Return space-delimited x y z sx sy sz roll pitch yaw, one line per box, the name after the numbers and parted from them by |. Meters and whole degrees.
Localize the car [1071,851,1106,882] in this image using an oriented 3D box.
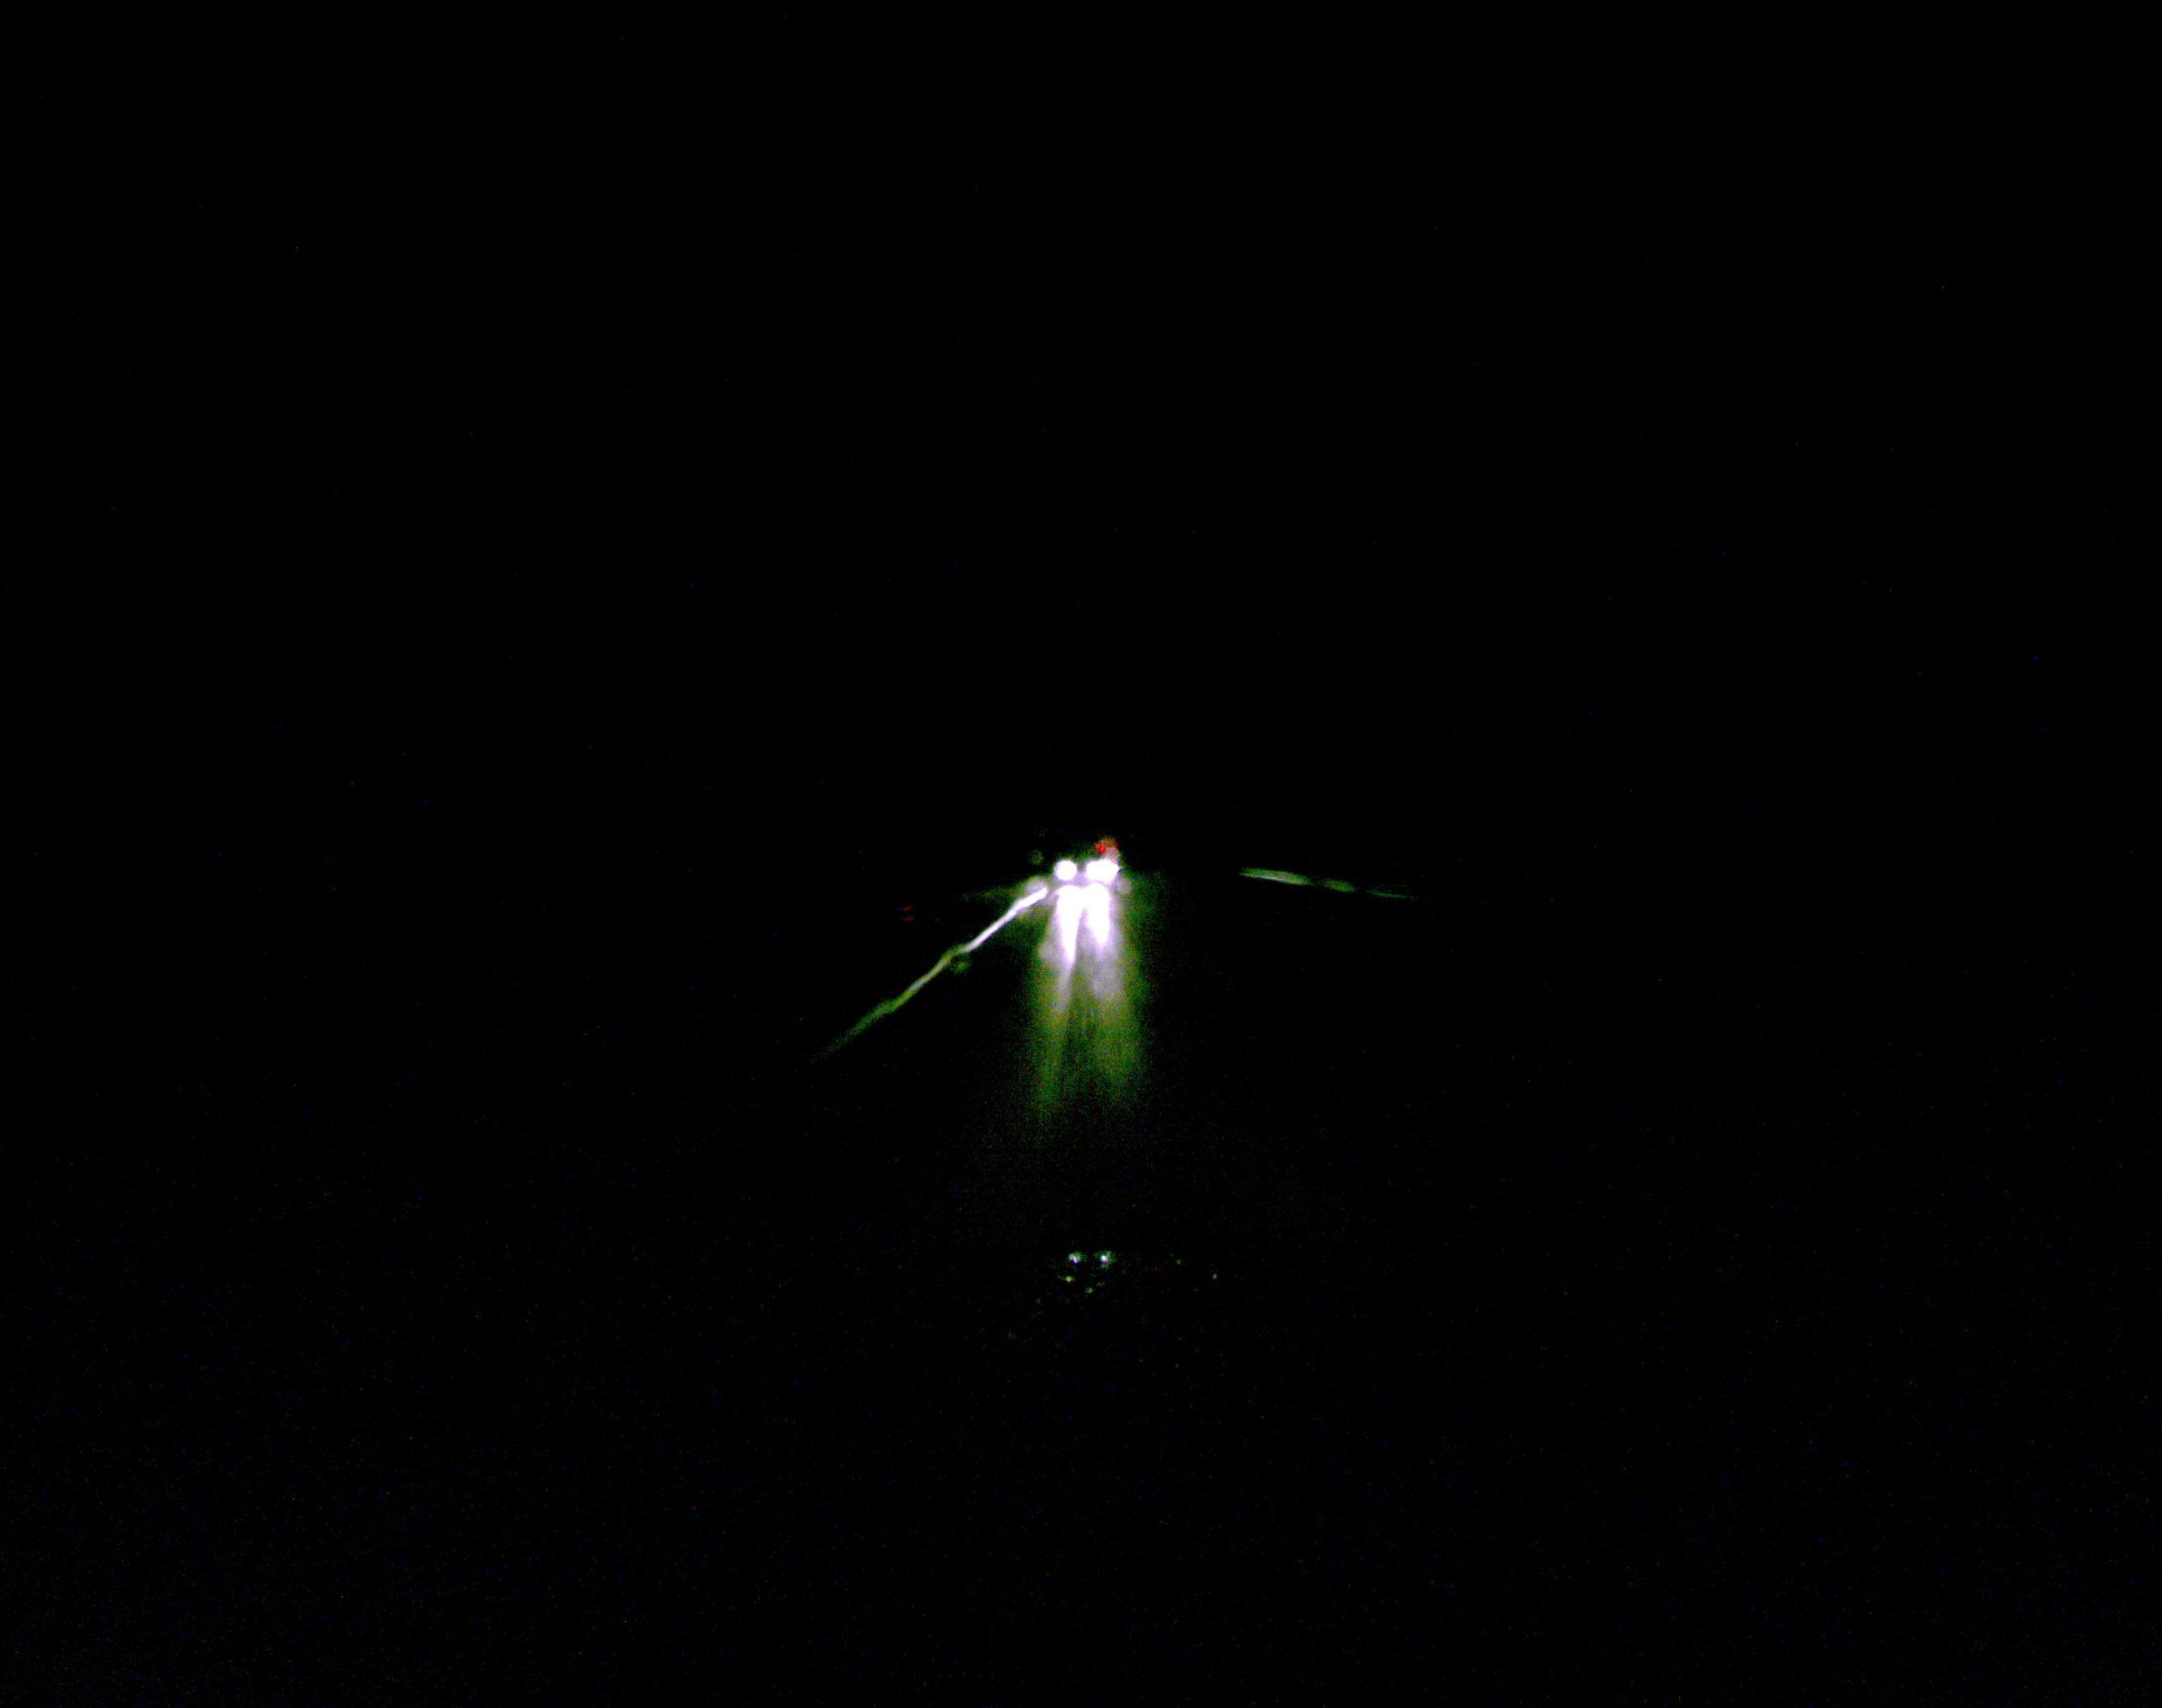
0.394 0.659 42.838 1.745 1.502 3.598 -3 2 -1 | car

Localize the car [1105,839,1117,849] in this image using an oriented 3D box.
5.015 -1.675 127.771 1.745 1.632 3.598 -3 2 -1 | car

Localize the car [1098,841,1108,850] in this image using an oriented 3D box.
4.961 -1.994 171.496 2.011 2.002 4.327 -1 0 2 | car
